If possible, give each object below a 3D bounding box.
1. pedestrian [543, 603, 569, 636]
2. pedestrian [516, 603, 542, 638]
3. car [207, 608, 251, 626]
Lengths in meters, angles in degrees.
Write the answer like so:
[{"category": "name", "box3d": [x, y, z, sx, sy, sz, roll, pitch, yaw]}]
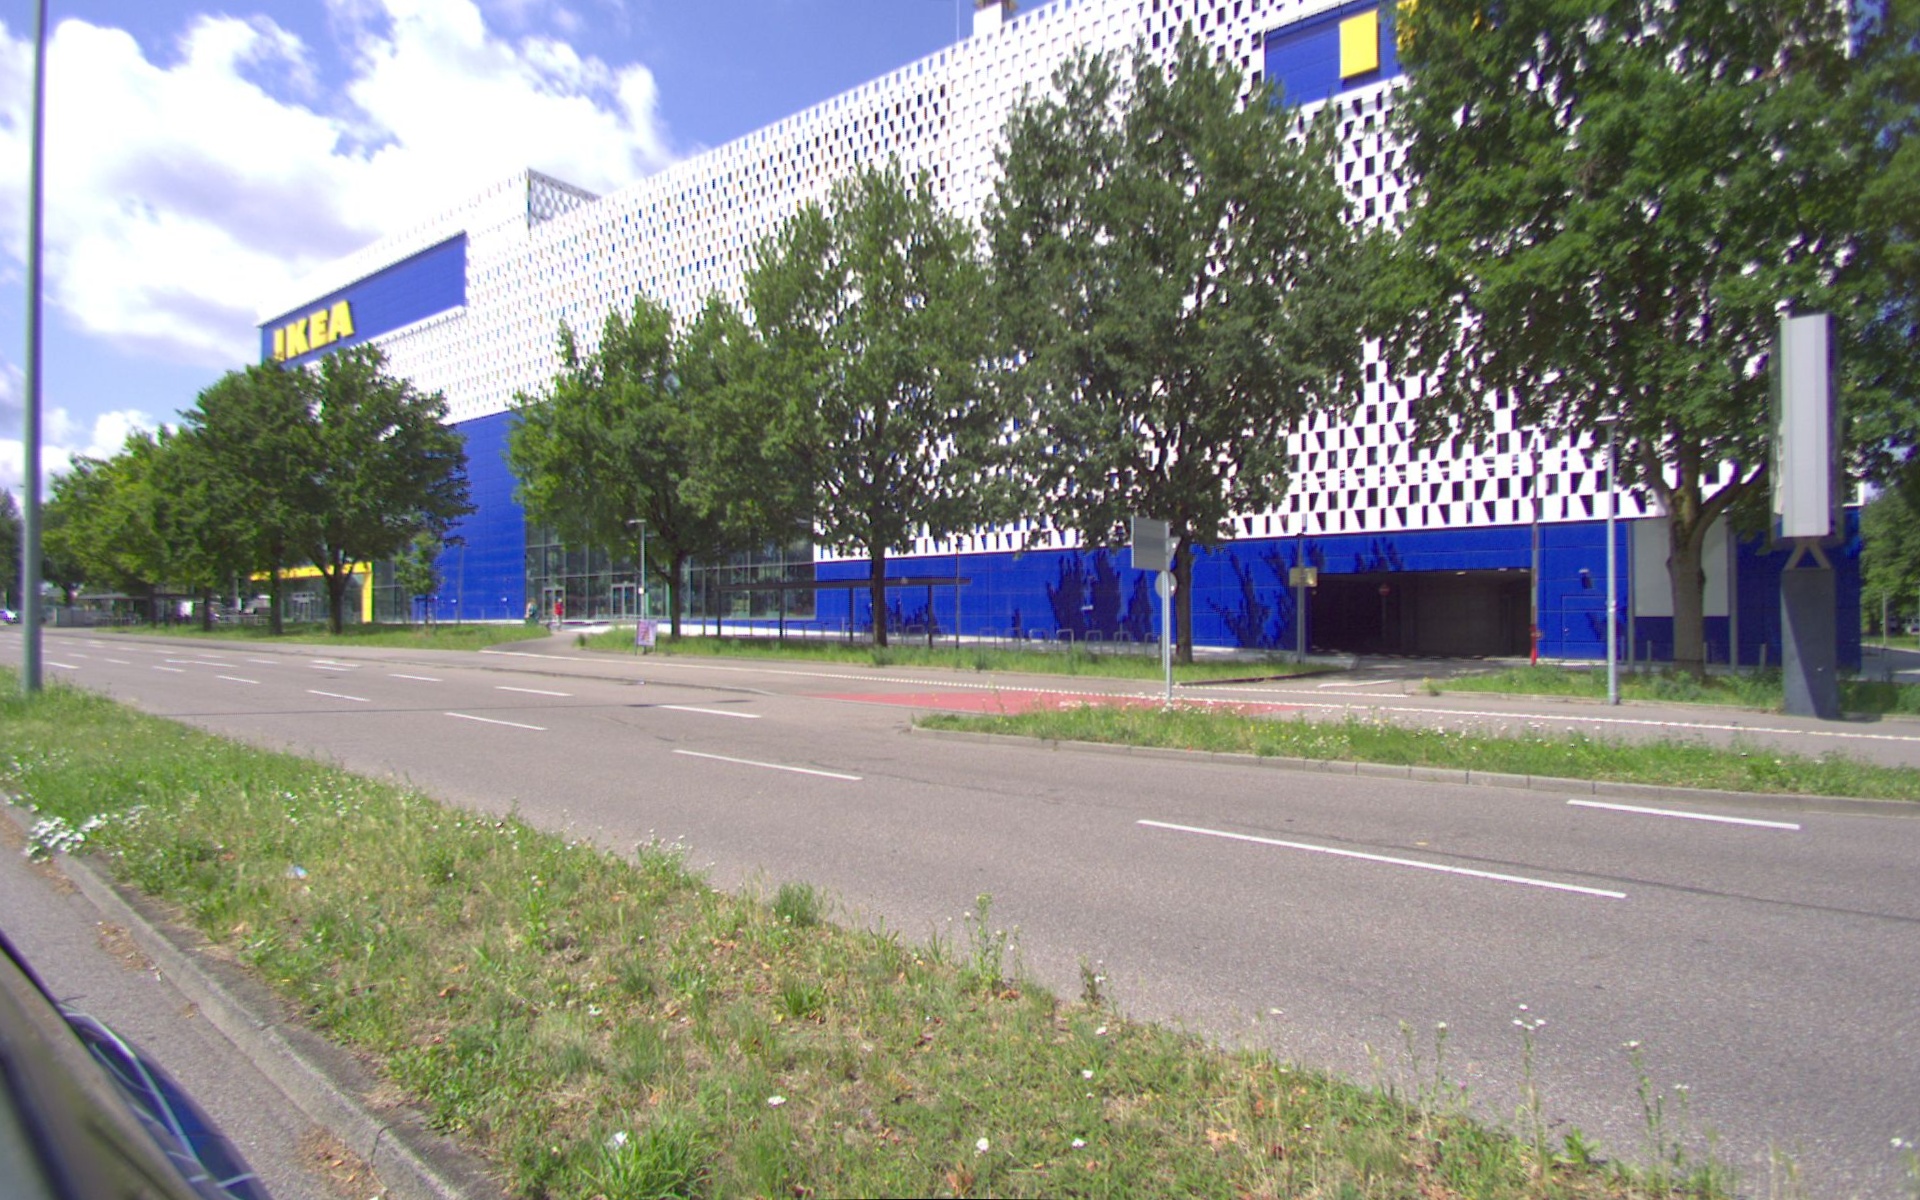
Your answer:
[{"category": "pedestrian", "box3d": [-21.295, 1.013, 53.287, 1.165, 1.741, 0.842, 0, 0, 43]}, {"category": "pedestrian", "box3d": [-22.281, 1.051, 52.334, 1.165, 1.741, 0.842, 0, 0, 43]}, {"category": "car", "box3d": [-88.290, 2.034, 122.264, 1.997, 2.029, 3.949, 0, 1, 38]}]
